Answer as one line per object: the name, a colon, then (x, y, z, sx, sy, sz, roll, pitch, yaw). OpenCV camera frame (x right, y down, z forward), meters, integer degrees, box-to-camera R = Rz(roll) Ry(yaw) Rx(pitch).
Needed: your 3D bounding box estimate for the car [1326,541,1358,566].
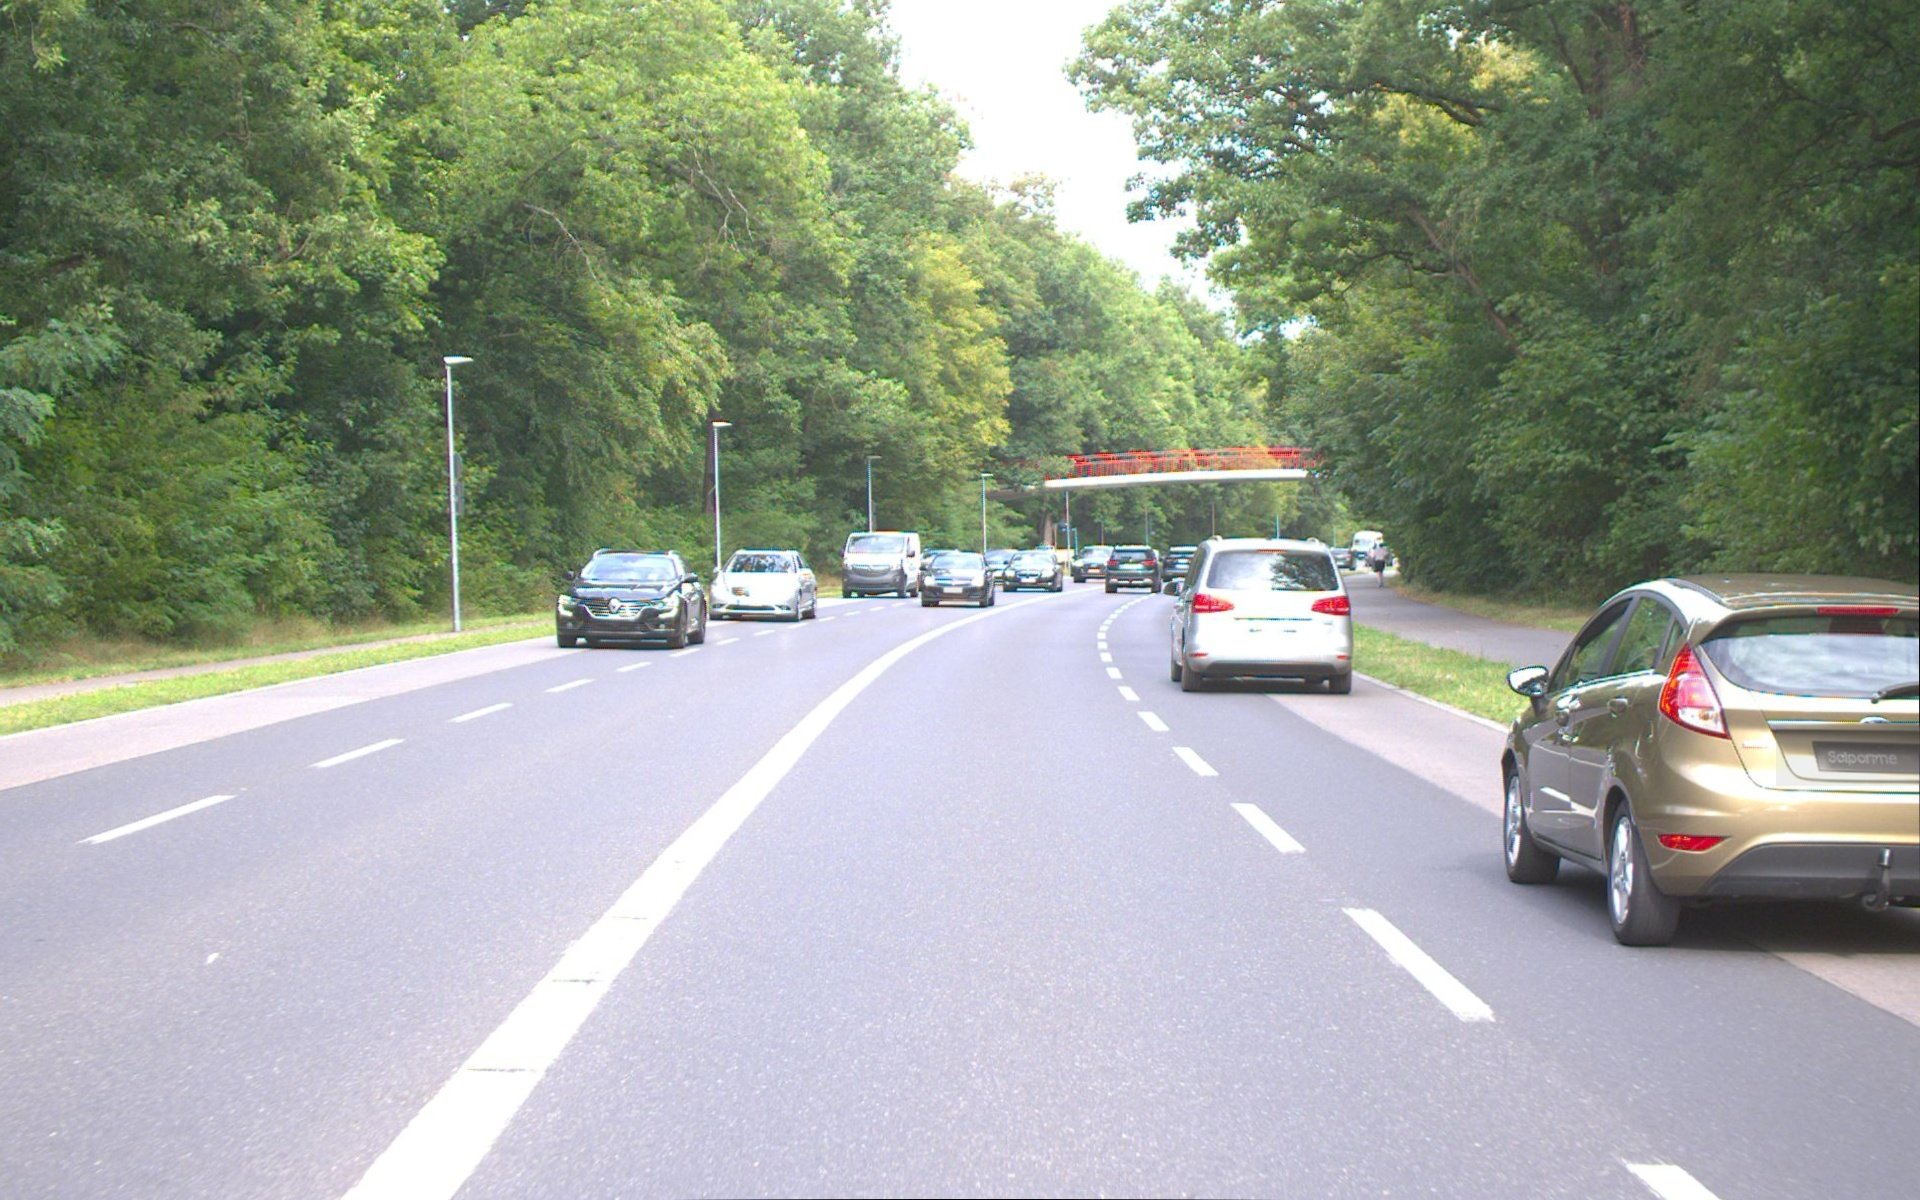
car: (25.720, -3.139, 231.280, 1.994, 1.700, 3.999, 0, 1, 9)

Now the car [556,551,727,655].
car: (-4.752, 0.047, 51.911, 1.881, 1.438, 4.403, 2, 0, 3)

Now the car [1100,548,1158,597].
car: (5.802, -0.924, 117.858, 1.730, 1.582, 3.999, 2, 0, 6)

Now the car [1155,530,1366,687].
car: (3.302, 0.095, 38.476, 1.993, 1.601, 4.000, 2, 0, 1)

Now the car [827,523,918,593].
car: (-2.571, -1.232, 102.391, 1.994, 2.007, 5.052, 0, 0, 7)

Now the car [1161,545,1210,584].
car: (10.359, -1.629, 157.869, 1.994, 1.691, 3.999, 2, 0, 6)

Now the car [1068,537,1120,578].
car: (5.887, -1.855, 150.679, 1.963, 1.700, 3.999, -2, 0, 6)

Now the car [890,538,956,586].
car: (-1.251, -1.302, 118.554, 1.885, 1.552, 4.518, 1, 0, 4)

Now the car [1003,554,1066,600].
car: (2.617, -0.786, 119.737, 1.886, 1.473, 4.518, 2, 0, 5)

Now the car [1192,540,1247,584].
car: (11.037, -1.617, 145.872, 1.994, 1.744, 3.998, 2, 0, 8)

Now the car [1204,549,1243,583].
car: (13.109, -1.695, 171.385, 1.818, 1.561, 3.999, 2, 0, 4)

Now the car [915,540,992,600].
car: (-0.156, -0.763, 89.715, 1.656, 1.481, 3.866, 2, 0, 5)

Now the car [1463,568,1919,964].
car: (3.287, 0.619, 14.583, 1.635, 1.415, 4.000, 2, 0, -1)

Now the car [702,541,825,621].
car: (-4.049, -0.372, 71.665, 1.994, 1.558, 4.603, 2, 0, 3)
